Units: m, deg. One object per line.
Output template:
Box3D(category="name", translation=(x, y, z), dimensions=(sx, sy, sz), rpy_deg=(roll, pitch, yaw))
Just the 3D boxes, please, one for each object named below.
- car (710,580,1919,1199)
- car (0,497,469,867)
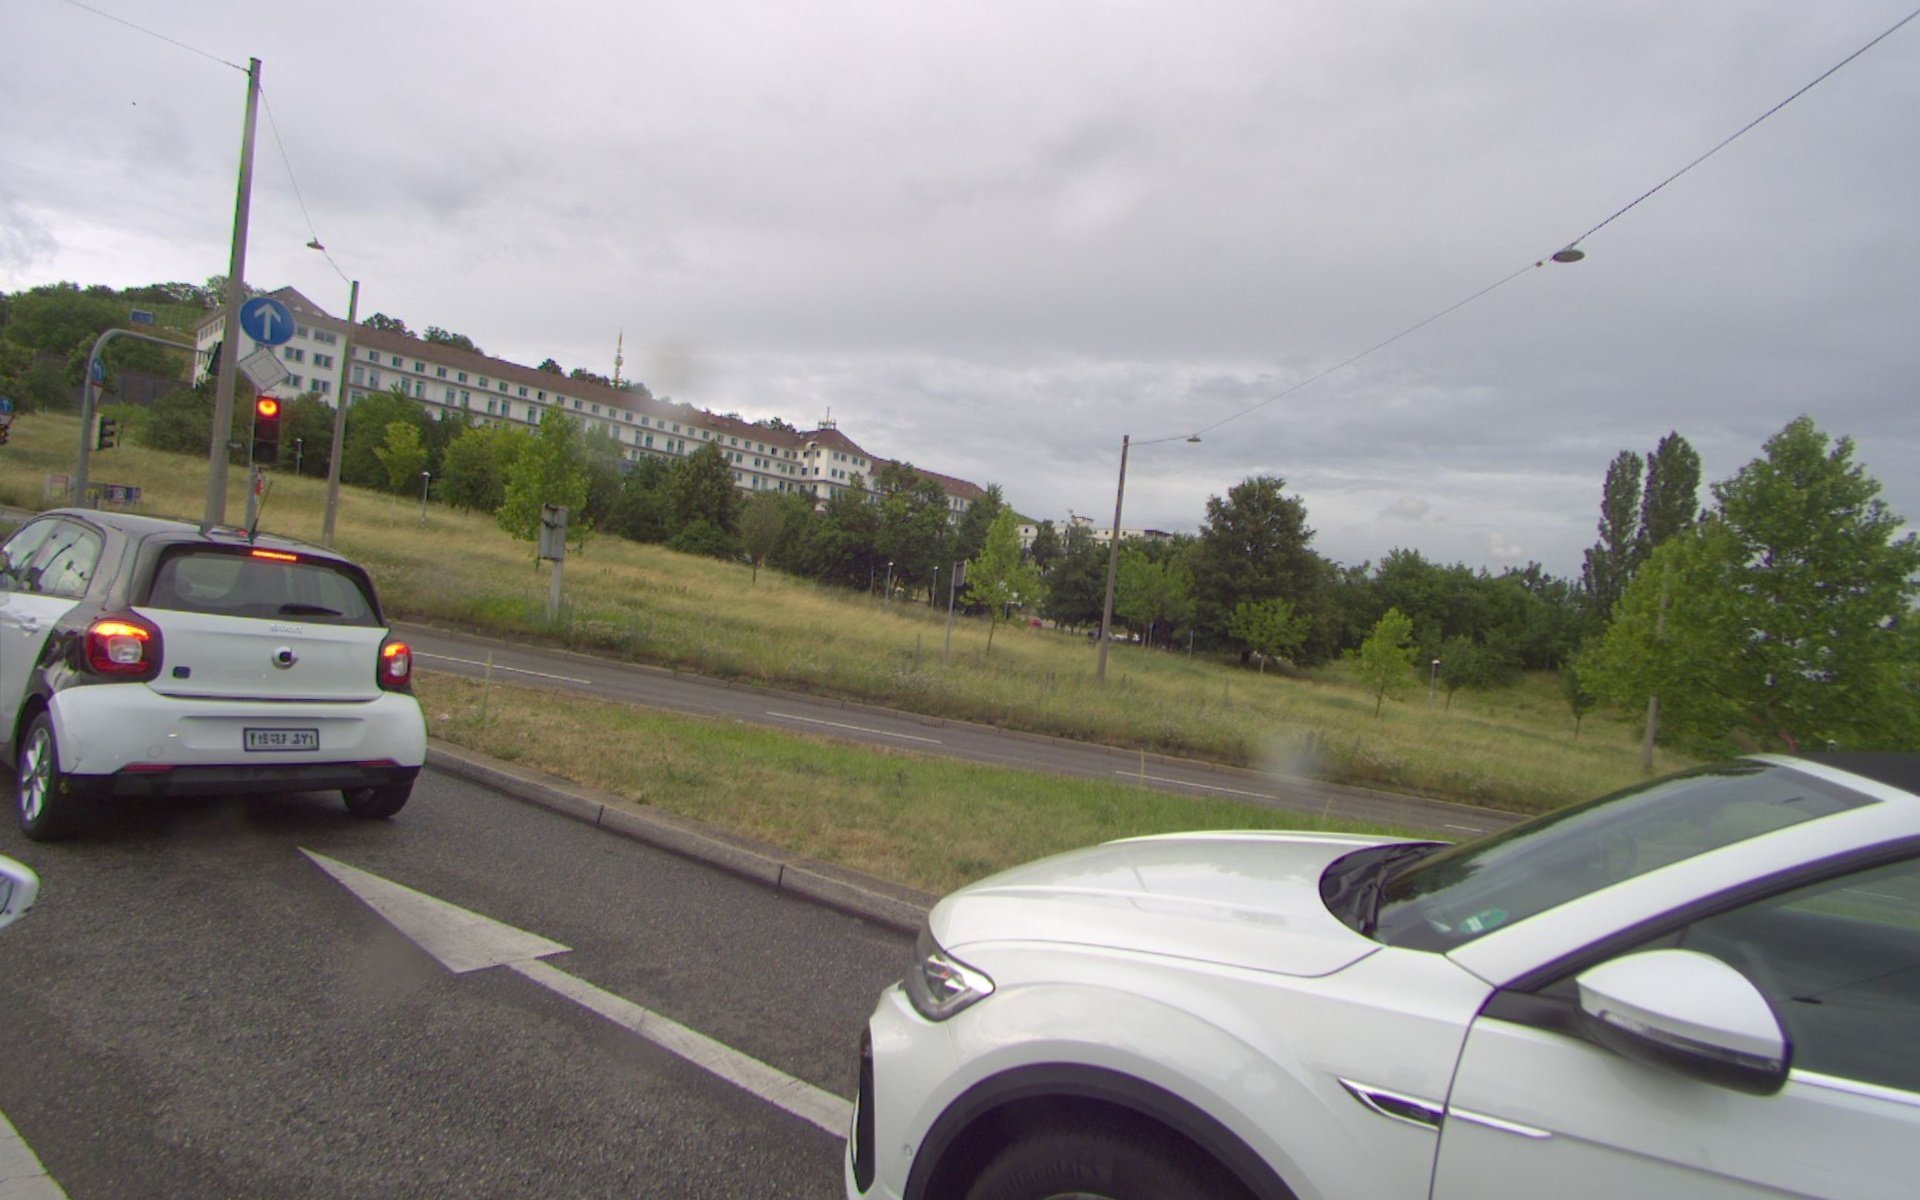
Box3D(category="car", translation=(1.767, 1.010, 1.789), dimensions=(4.156, 1.571, 1.718), rpy_deg=(6, -2, 28))
Box3D(category="car", translation=(-4.634, 0.305, 5.843), dimensions=(3.397, 1.520, 1.659), rpy_deg=(6, -2, 36))
